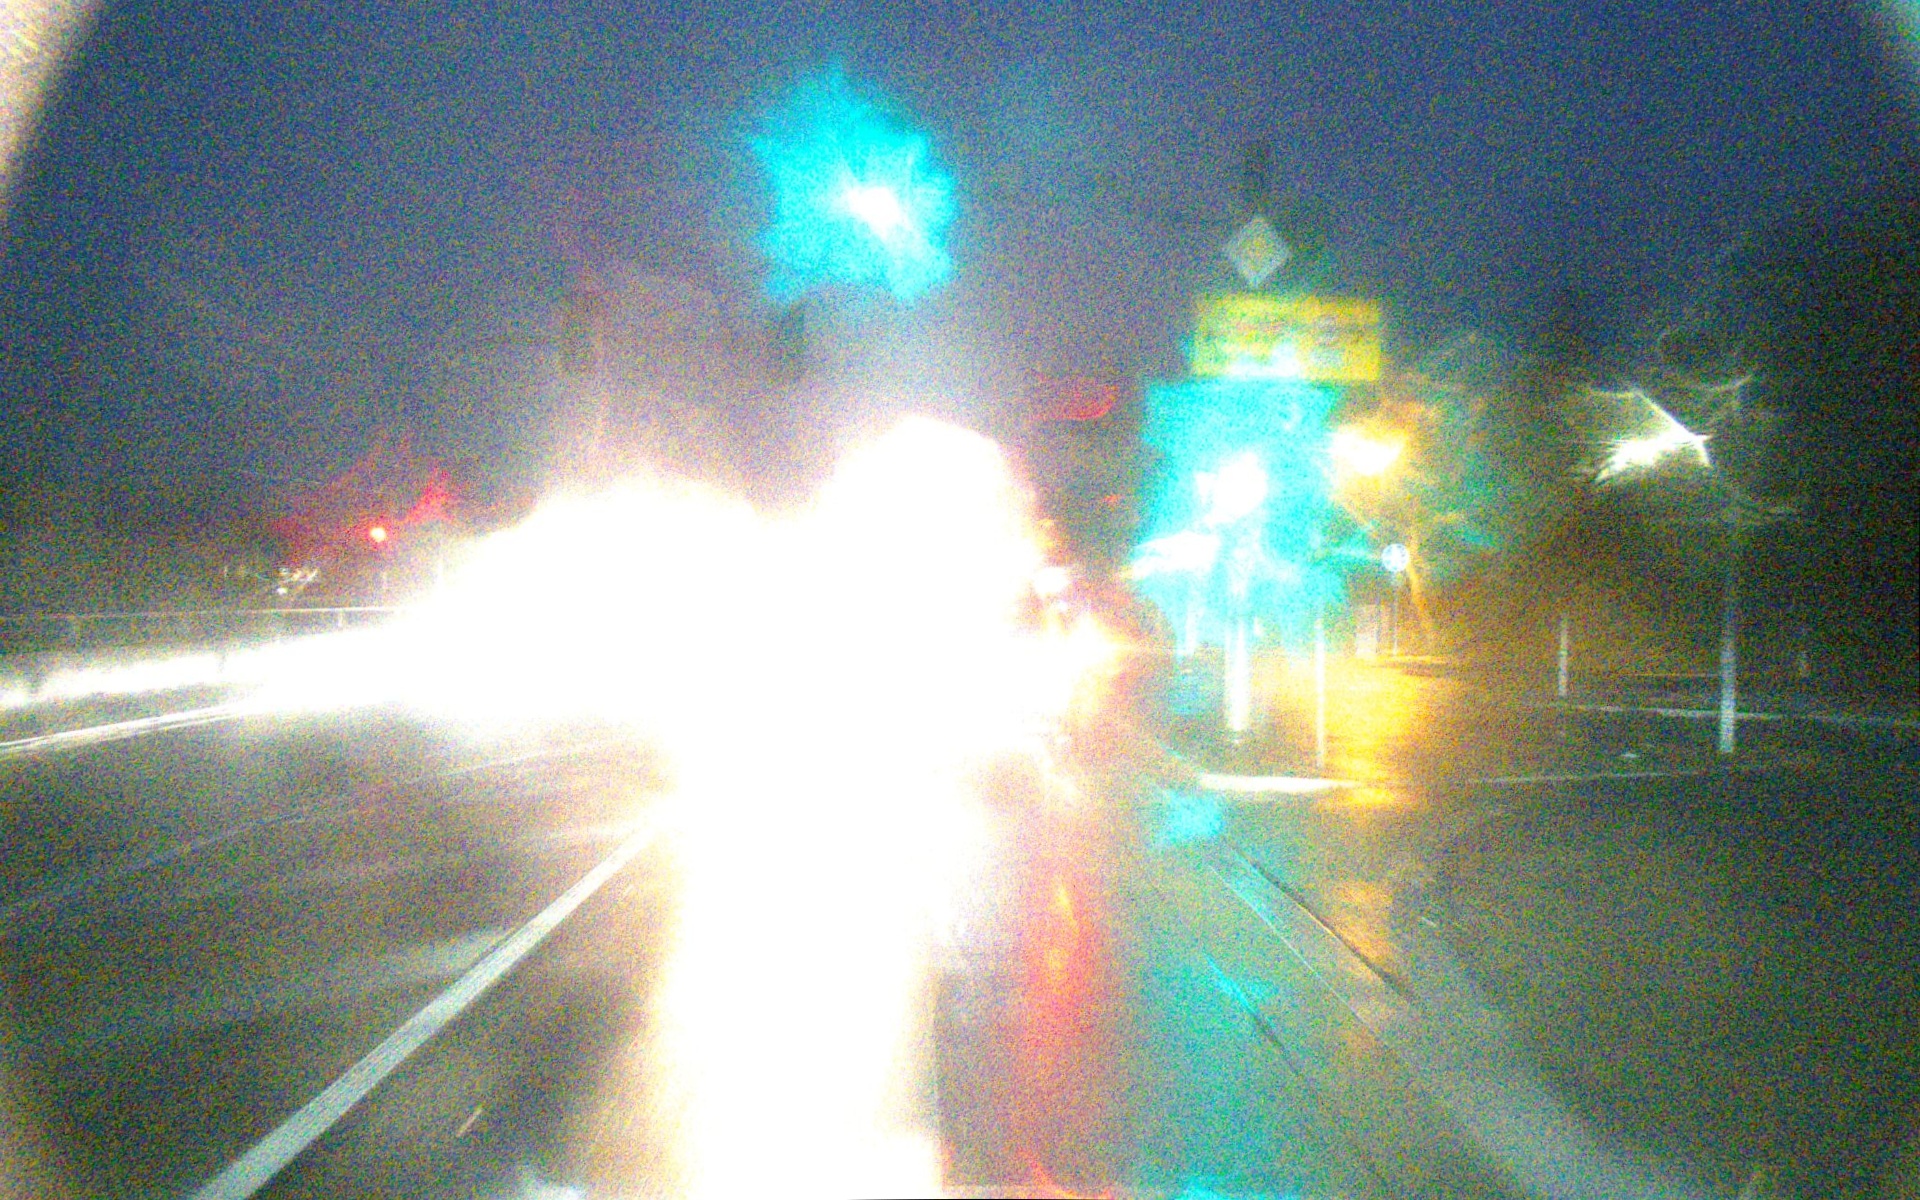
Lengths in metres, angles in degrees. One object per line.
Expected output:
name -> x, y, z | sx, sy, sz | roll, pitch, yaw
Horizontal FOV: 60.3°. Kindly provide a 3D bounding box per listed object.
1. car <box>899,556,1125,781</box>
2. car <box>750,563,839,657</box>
car -> 0.336, 0.529, 14.859 | 1.739, 1.742, 3.998 | 0, 0, -2
car -> -3.844, 0.293, 38.610 | 1.955, 2.049, 3.995 | -1, -2, -5
